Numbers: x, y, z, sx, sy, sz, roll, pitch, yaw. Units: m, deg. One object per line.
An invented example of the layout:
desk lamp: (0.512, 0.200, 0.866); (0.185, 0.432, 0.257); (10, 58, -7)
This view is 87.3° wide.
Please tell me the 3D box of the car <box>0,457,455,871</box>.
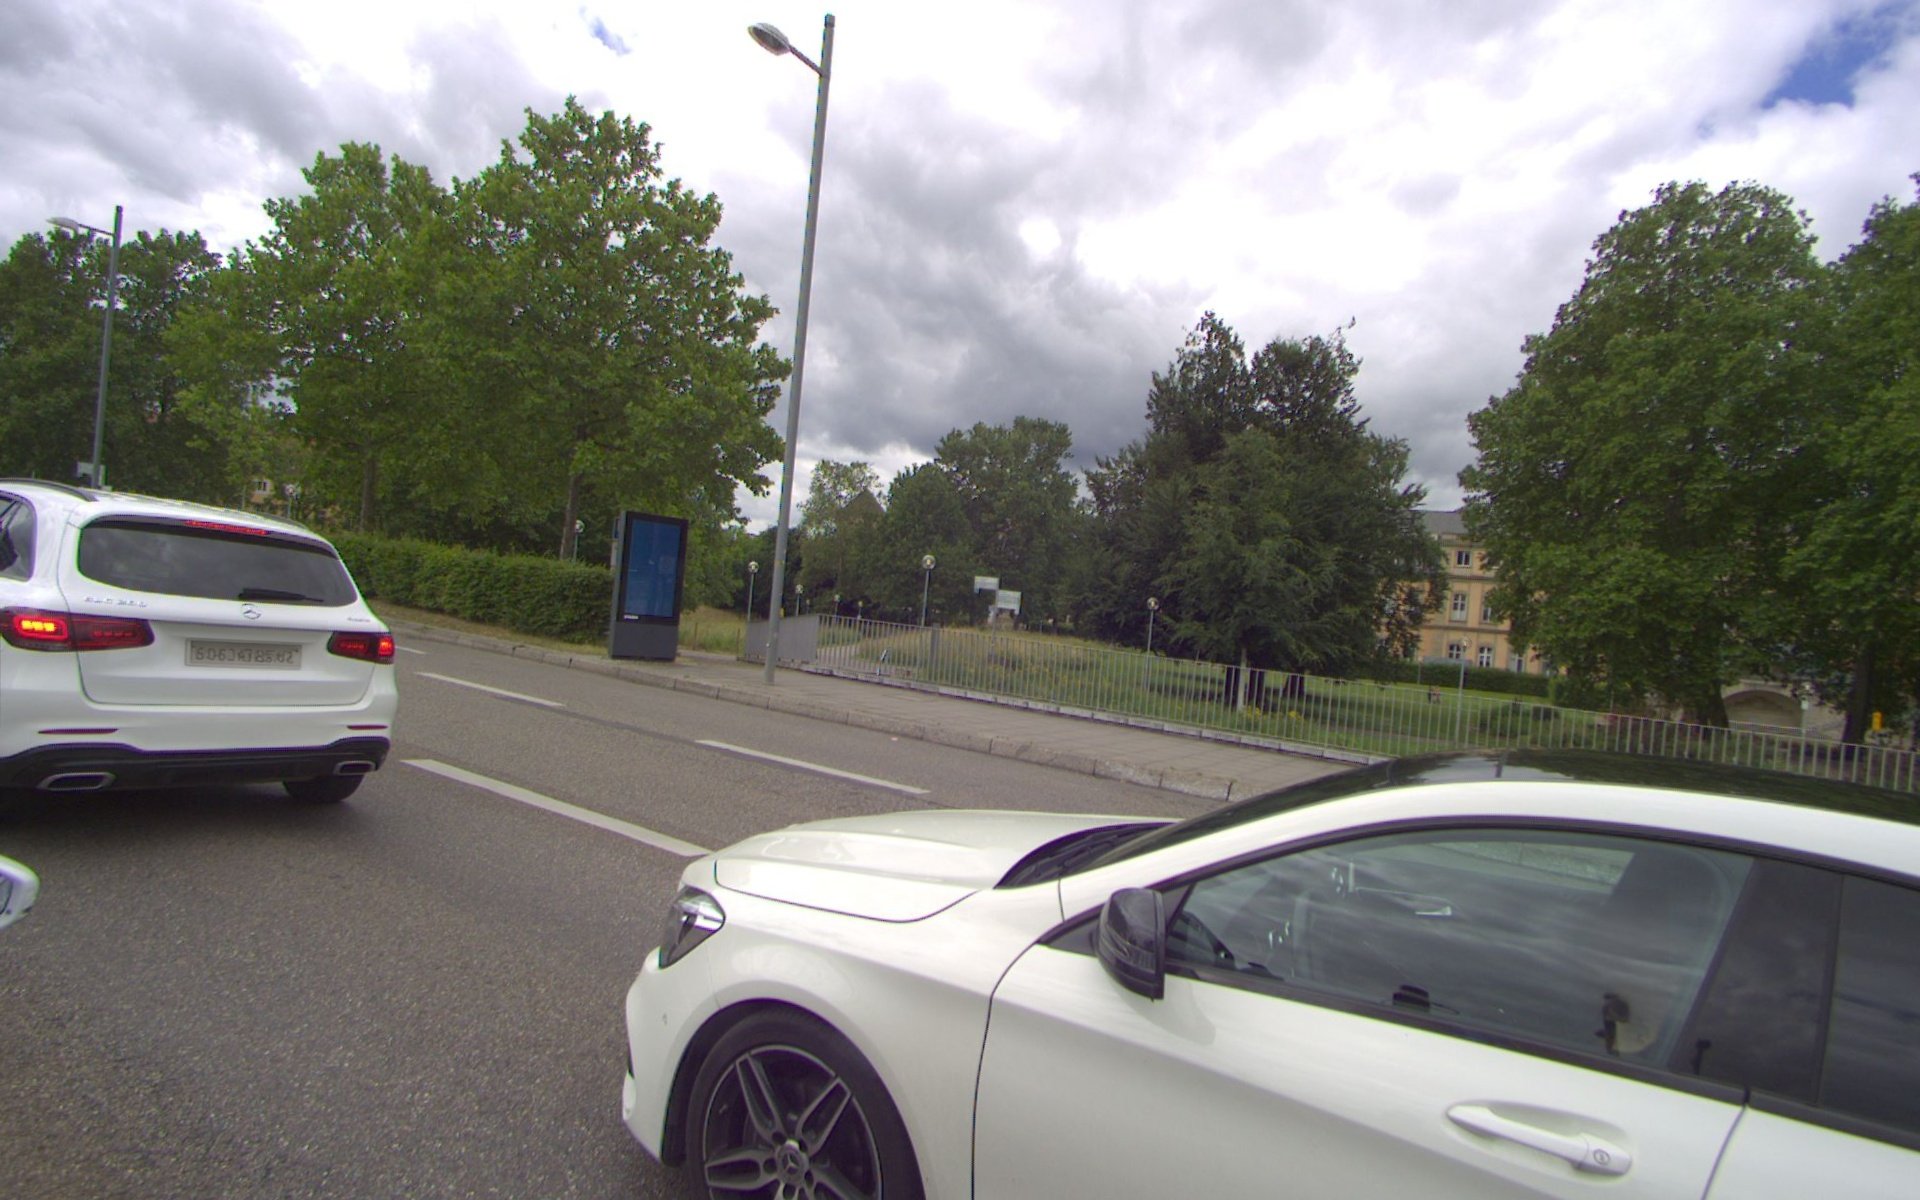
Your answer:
car: (-5.152, 0.134, 5.944); (4.307, 1.667, 1.821); (7, -1, 33)

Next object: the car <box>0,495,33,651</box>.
car: (-11.899, -0.541, 10.755); (3.738, 1.604, 1.897); (7, -1, 32)

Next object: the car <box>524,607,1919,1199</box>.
car: (1.278, 1.010, 2.136); (4.432, 1.440, 1.722); (6, -2, 32)
